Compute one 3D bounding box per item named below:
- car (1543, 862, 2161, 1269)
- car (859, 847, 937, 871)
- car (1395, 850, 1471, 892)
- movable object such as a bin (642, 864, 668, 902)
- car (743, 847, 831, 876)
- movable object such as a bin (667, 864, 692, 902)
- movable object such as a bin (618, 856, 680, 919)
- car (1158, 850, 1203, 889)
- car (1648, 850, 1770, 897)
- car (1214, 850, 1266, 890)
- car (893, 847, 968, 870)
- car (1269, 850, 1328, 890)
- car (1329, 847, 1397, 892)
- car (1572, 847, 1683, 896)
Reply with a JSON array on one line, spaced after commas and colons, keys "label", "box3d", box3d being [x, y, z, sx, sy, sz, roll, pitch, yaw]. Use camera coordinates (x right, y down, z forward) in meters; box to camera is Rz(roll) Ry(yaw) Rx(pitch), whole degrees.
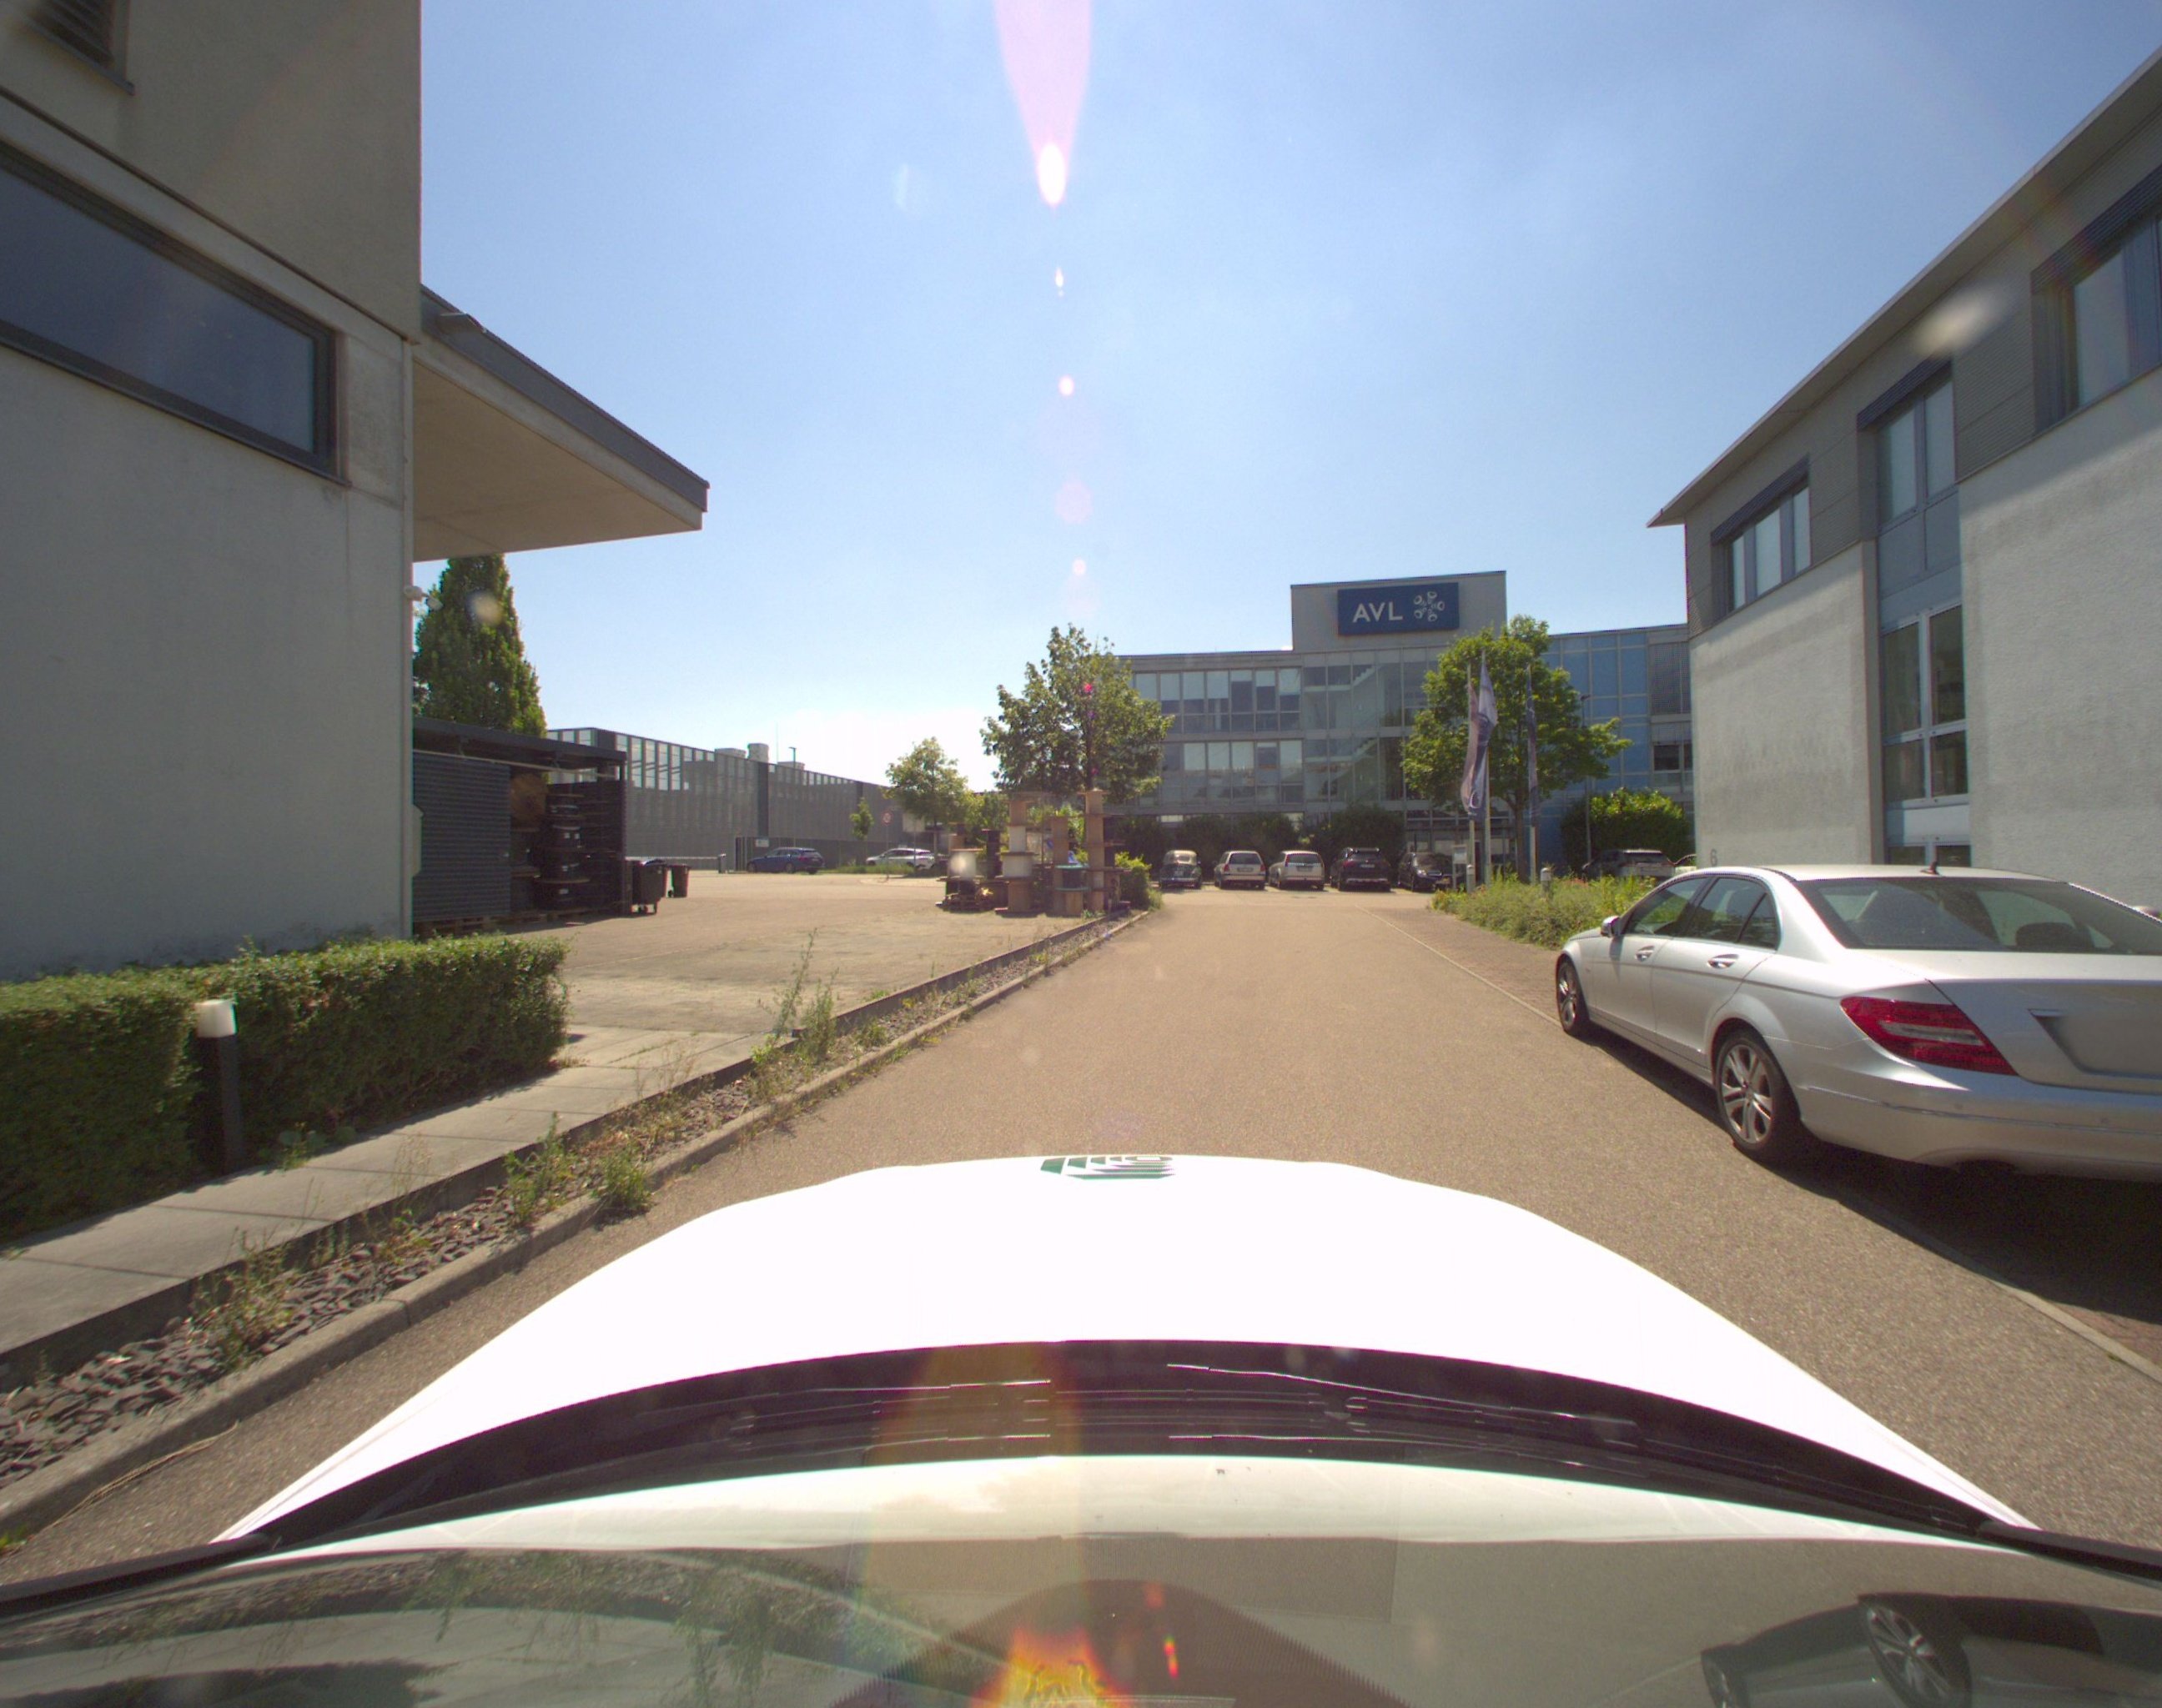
[{"label": "car", "box3d": [4.426, 0.757, 4.955, 1.786, 1.398, 4.438, 0, -1, 15]}, {"label": "car", "box3d": [-12.151, 0.325, 53.950, 4.794, 1.491, 2.012, 1, 1, 26]}, {"label": "car", "box3d": [13.304, 0.598, 31.011, 1.758, 1.482, 4.272, 0, 1, 11]}, {"label": "movable object such as a bin", "box3d": [-11.697, 0.783, 22.382, 0.582, 1.027, 0.422, 0, -1, -21]}, {"label": "car", "box3d": [-16.187, 0.394, 44.887, 4.459, 1.491, 2.012, 1, 1, 26]}, {"label": "movable object such as a bin", "box3d": [-11.139, 0.786, 22.598, 0.579, 1.036, 0.422, 0, -1, -21]}, {"label": "movable object such as a bin", "box3d": [-9.527, 0.722, 17.977, 0.804, 1.345, 0.888, 0, -1, 18]}, {"label": "car", "box3d": [4.002, 0.568, 32.307, 1.532, 1.449, 3.664, 1, 1, 10]}, {"label": "car", "box3d": [22.598, 0.646, 29.516, 1.725, 1.491, 4.353, 1, 1, 11]}, {"label": "car", "box3d": [6.227, 0.576, 32.137, 1.723, 1.449, 3.661, 1, 1, 6]}, {"label": "car", "box3d": [-10.457, 0.298, 56.548, 4.794, 1.491, 2.012, 1, 1, 26]}, {"label": "car", "box3d": [8.518, 0.584, 32.155, 1.756, 1.449, 3.661, 1, 1, 6]}, {"label": "car", "box3d": [10.826, 0.535, 31.504, 1.915, 1.610, 3.999, 1, 1, 11]}, {"label": "car", "box3d": [19.905, 0.584, 29.889, 1.808, 1.619, 4.353, 0, 1, 11]}]
